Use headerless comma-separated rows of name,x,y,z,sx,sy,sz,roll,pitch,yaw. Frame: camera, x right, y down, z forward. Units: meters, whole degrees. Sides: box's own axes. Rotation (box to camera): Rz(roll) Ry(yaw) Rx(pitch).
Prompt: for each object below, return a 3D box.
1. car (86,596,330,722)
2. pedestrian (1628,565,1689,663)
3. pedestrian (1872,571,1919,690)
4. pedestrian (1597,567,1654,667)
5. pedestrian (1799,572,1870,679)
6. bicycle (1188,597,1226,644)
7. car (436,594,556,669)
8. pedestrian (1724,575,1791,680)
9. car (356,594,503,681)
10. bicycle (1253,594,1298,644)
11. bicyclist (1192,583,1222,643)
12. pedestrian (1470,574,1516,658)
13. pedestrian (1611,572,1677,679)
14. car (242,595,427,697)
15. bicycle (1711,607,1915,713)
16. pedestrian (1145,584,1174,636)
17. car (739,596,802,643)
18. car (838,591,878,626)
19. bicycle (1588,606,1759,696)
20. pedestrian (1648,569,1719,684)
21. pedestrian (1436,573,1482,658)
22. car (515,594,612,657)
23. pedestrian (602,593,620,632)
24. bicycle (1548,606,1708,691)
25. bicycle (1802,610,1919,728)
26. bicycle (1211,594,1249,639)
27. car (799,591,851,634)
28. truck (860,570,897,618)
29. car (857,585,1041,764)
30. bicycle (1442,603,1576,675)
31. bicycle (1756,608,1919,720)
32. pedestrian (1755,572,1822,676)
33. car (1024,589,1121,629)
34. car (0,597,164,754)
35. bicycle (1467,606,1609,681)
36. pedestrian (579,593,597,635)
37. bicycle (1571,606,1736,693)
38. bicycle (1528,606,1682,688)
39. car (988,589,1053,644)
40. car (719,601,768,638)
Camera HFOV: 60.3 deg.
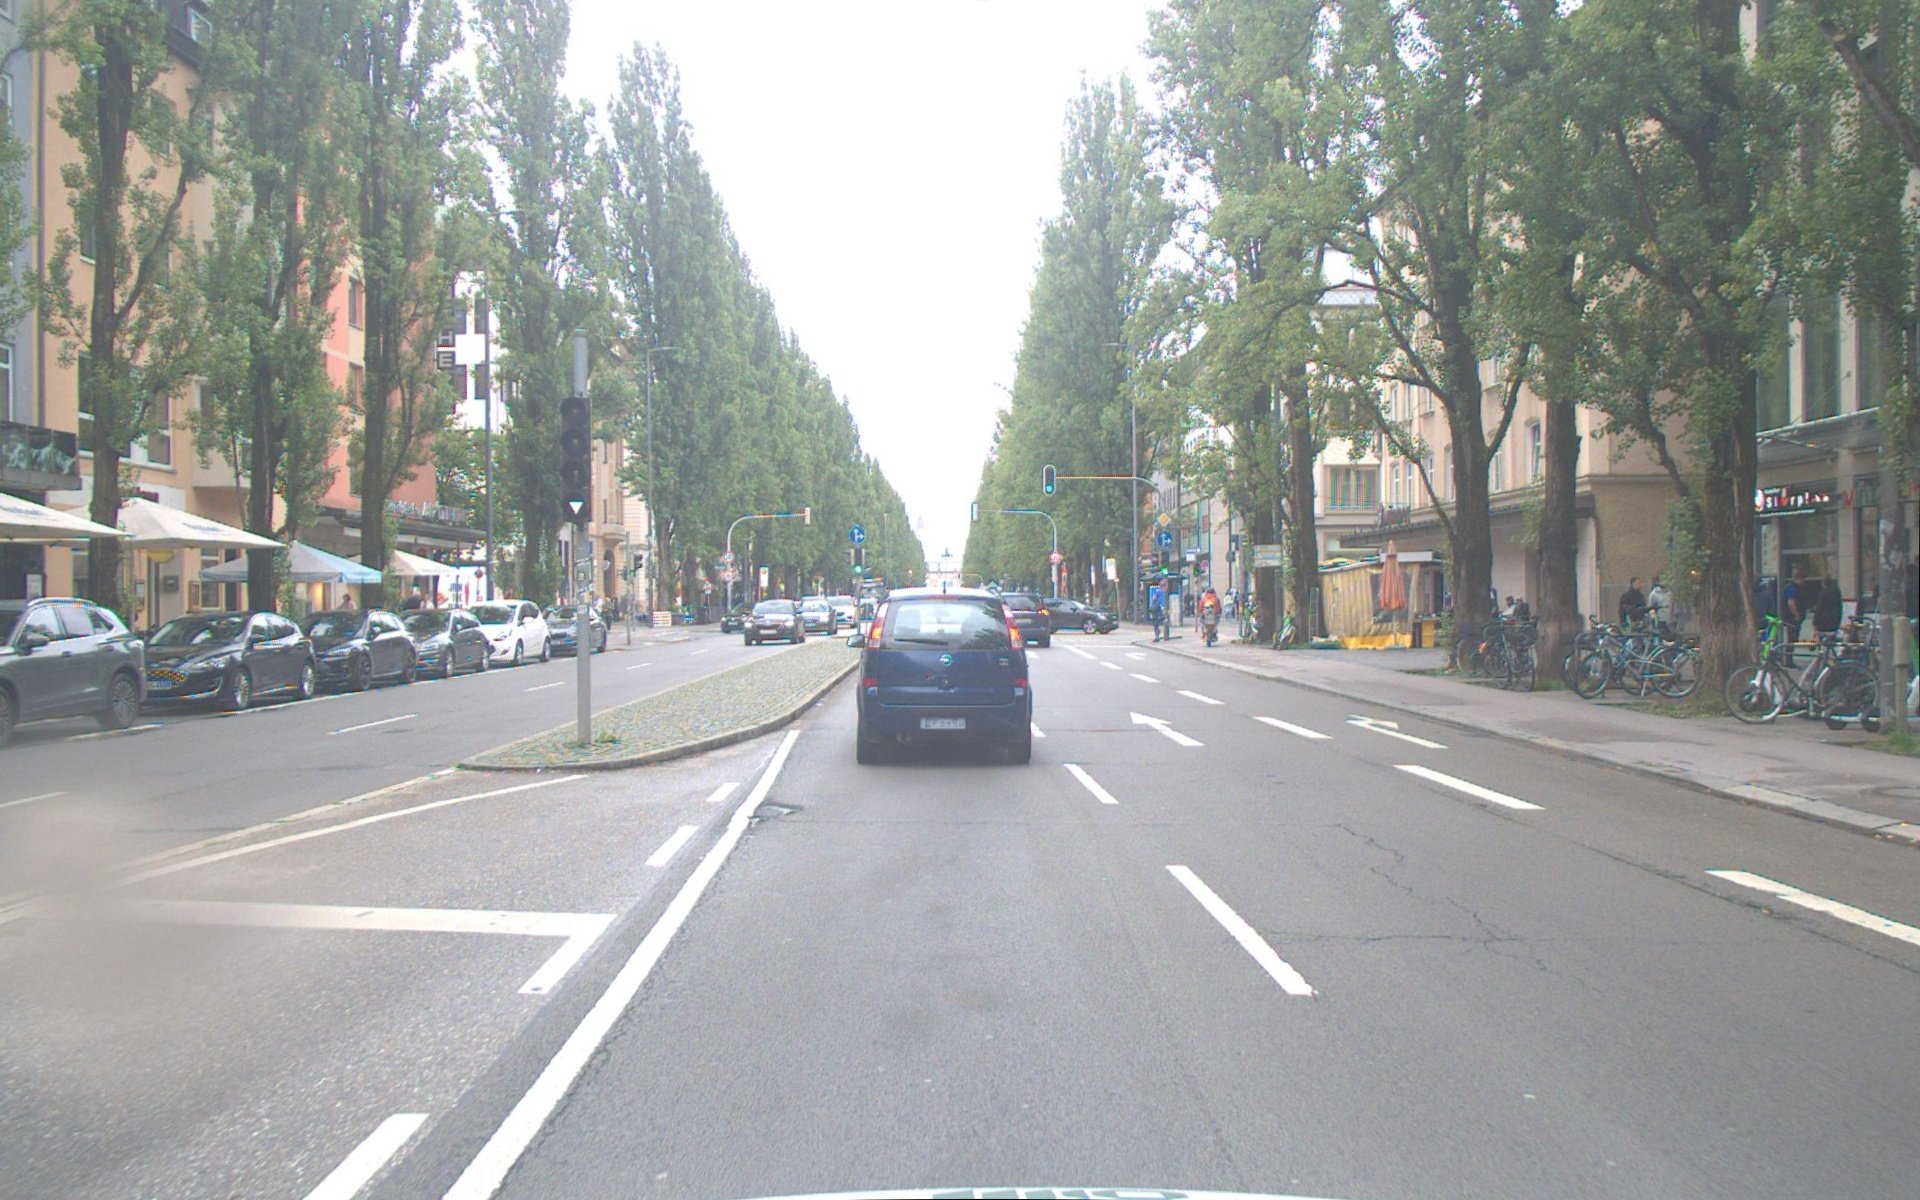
car,-11.369,0.823,25.348,1.828,1.694,4.119,-2,0,-1
pedestrian,13.444,0.266,31.844,0.706,1.859,0.885,1,-1,-10
pedestrian,15.127,0.487,26.269,0.706,1.859,0.885,1,-1,-10
pedestrian,12.699,0.322,31.578,0.625,1.859,0.885,1,-1,-10
pedestrian,15.574,0.449,29.475,0.706,1.859,0.885,1,-1,-10
bicycle,7.524,0.603,50.422,0.757,1.372,2.449,-1,0,-1
car,-11.541,0.742,41.419,1.828,1.694,4.119,-2,0,-1
pedestrian,14.486,0.498,30.053,0.706,1.859,0.885,1,-1,-10
car,-11.421,0.757,35.892,1.828,1.694,4.119,-2,0,-1
bicycle,8.896,0.520,46.707,0.757,1.372,2.449,-1,0,-1
bicyclist,7.522,0.402,50.420,0.752,1.797,0.885,-1,0,-1
pedestrian,11.974,0.366,37.166,0.625,1.859,0.885,1,-1,-10
pedestrian,12.157,0.451,29.423,0.706,1.859,0.885,1,-1,-10
car,-11.473,0.785,30.632,1.828,1.694,4.119,-2,0,-1
bicycle,10.384,0.718,20.171,2.182,1.225,0.626,-1,0,-3
pedestrian,6.923,0.347,57.379,0.865,1.797,0.769,-1,0,-3
car,-6.247,0.620,54.742,1.699,1.491,3.365,-1,0,-1
car,-5.246,0.424,85.418,1.828,1.695,4.119,-1,0,-1
bicycle,10.191,0.720,23.655,2.182,1.225,0.626,-1,0,-3
pedestrian,12.043,0.438,27.546,0.706,1.859,0.885,1,-1,-10
pedestrian,11.103,0.340,36.797,0.625,1.859,0.885,1,-1,-10
car,-11.608,0.709,48.694,1.828,1.694,4.119,-2,0,-1
pedestrian,-15.957,0.567,75.587,0.754,1.797,0.883,-1,0,-11
bicycle,10.188,0.729,25.262,2.182,1.225,0.626,-1,0,-3
bicycle,10.397,0.725,17.975,2.182,1.225,0.626,-1,0,-3
bicycle,8.523,0.498,52.320,0.757,1.372,2.449,-1,0,-1
car,-5.556,0.480,68.376,1.828,1.695,4.119,-1,0,-1
truck,-5.974,-0.452,122.026,2.334,3.405,7.110,-1,0,-1
car,-0.104,0.662,16.805,1.637,1.596,4.000,0,0,0
bicycle,9.797,0.681,29.549,2.182,1.225,0.626,-1,0,-3
bicycle,10.429,0.723,19.088,2.182,1.225,0.626,-1,0,-3
pedestrian,15.194,0.434,30.346,0.706,1.859,0.885,1,-1,-10
car,4.823,0.389,70.466,3.902,1.650,1.904,0,0,11
car,-11.323,0.849,19.400,1.828,1.694,4.400,-2,0,-1
bicycle,9.836,0.730,28.170,2.182,1.225,0.626,-1,0,-3
pedestrian,-16.231,0.595,72.194,0.754,1.797,0.882,-1,0,-12
bicycle,10.244,0.723,24.464,2.182,1.225,0.626,-1,0,-3
bicycle,10.151,0.734,26.057,2.182,1.225,0.626,-1,0,-3
car,1.855,0.483,51.735,1.857,1.650,4.000,0,0,0
car,-10.357,0.907,79.379,1.828,1.695,4.119,-1,0,-1
